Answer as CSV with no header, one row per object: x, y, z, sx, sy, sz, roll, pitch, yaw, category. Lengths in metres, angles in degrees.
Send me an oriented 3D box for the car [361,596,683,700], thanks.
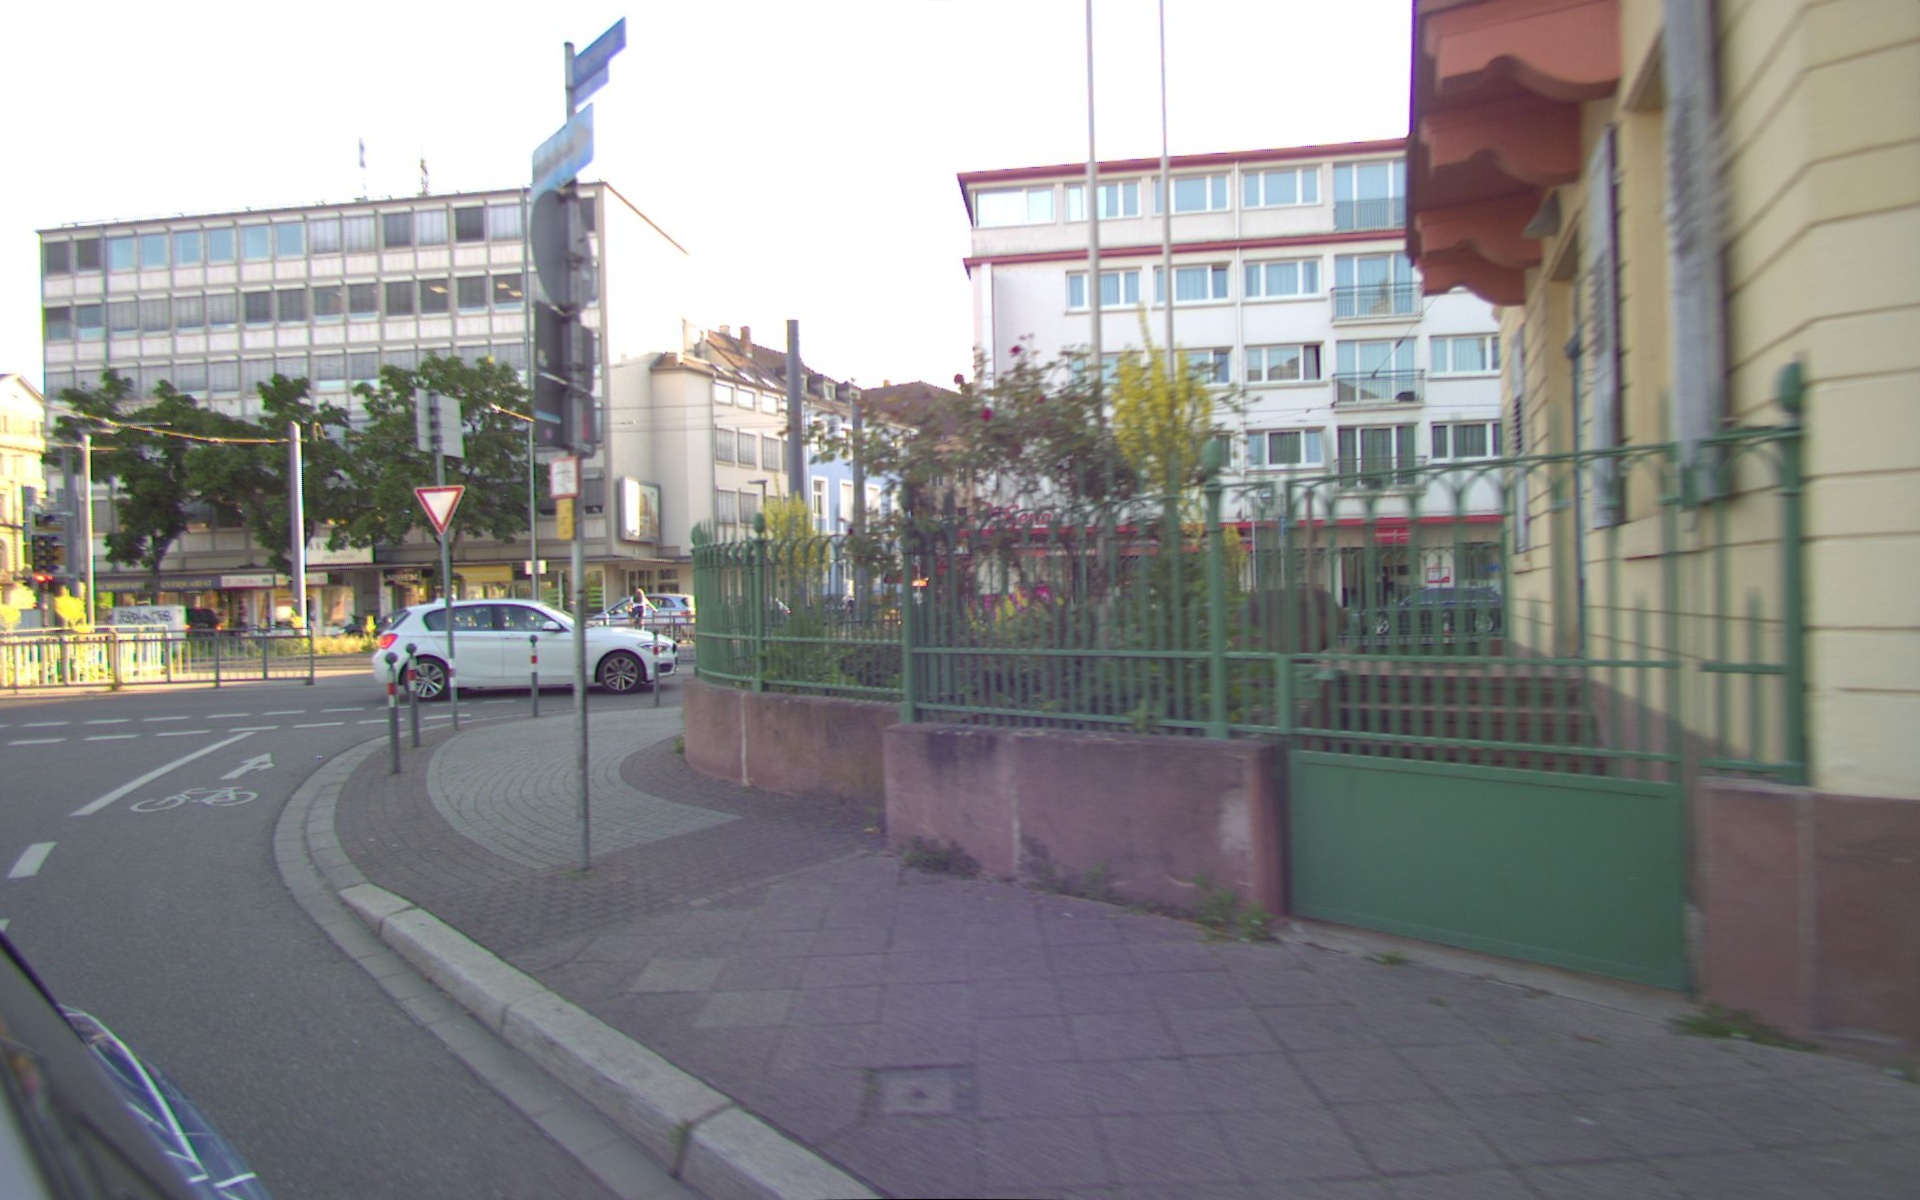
-6.448,0.665,15.420,4.233,1.416,1.922,0,1,-13,car

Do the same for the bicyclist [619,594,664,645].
-9.398,0.572,29.893,0.925,1.452,0.829,-1,0,23,bicyclist

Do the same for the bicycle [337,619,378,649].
-24.736,1.374,41.599,0.657,1.148,1.746,-1,1,-1,bicycle

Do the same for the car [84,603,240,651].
-28.858,0.966,36.671,4.249,1.586,1.997,-1,0,6,car

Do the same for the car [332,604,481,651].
-19.260,0.924,35.403,4.297,1.446,1.742,-1,0,-17,car

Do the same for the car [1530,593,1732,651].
19.319,0.626,29.337,4.353,1.476,1.994,-2,0,10,car

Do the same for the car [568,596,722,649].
-10.199,0.714,32.908,4.238,1.571,2.195,-1,0,14,car

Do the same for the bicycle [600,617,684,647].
-9.391,0.944,29.894,2.408,0.853,0.840,-1,0,24,bicycle

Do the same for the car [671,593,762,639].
-9.171,0.564,38.484,1.865,1.586,4.238,-1,0,9,car

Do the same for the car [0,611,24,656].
-34.520,1.230,34.060,4.609,1.451,2.035,-2,2,10,car

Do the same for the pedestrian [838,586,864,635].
-4.082,0.379,38.049,0.801,1.802,0.853,-1,0,3,pedestrian
